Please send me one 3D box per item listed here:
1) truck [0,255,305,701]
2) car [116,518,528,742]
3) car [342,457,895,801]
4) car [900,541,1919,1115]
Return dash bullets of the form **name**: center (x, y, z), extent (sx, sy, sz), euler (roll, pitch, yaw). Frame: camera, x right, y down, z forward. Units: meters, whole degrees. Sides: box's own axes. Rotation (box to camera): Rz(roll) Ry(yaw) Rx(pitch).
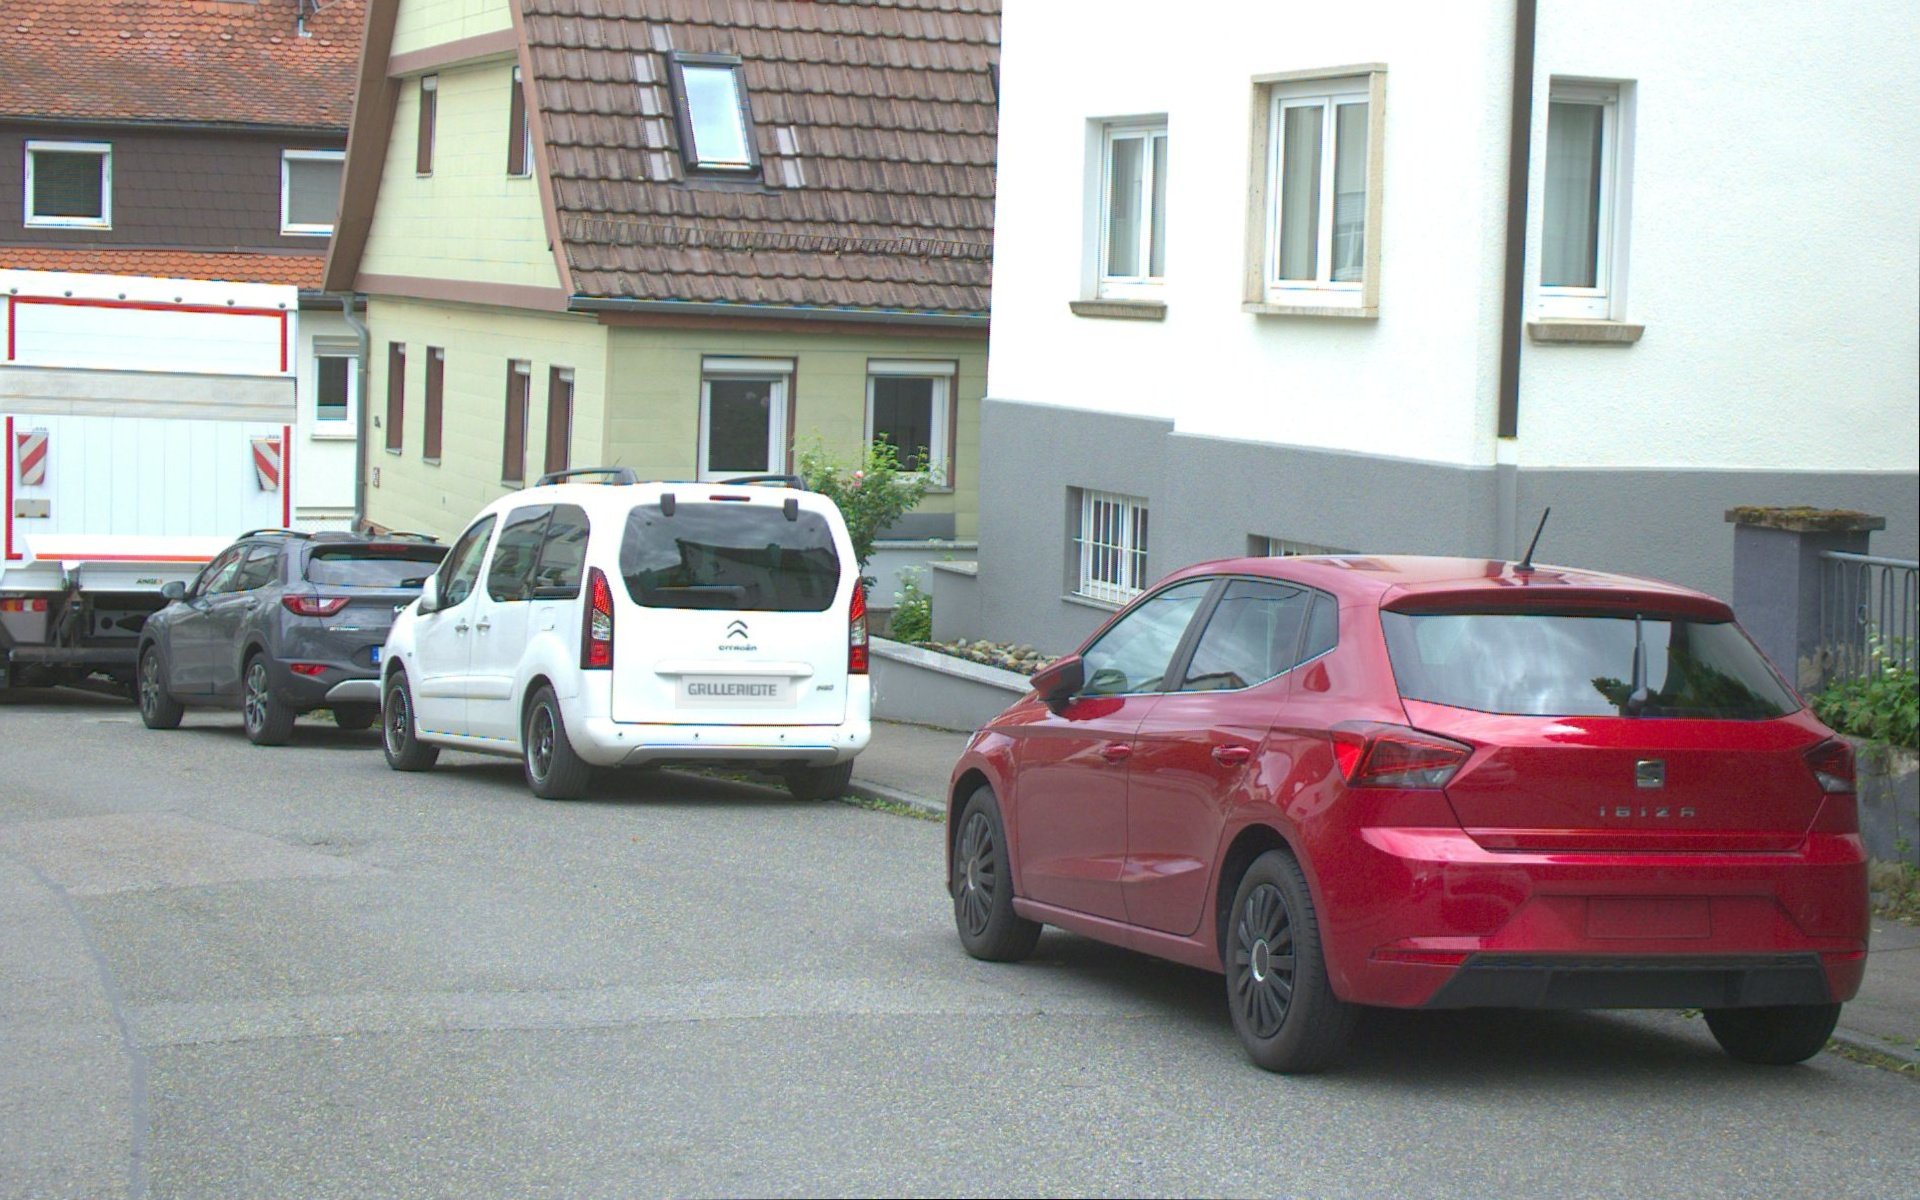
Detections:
- **truck**: center (-8.750, -1.070, 31.737), extent (2.675, 3.585, 8.106), euler (0, 1, -31)
- **car**: center (-4.763, 0.195, 25.224), extent (1.732, 1.501, 4.051), euler (1, 0, -29)
- **car**: center (-2.149, 0.120, 20.402), extent (1.835, 1.808, 4.305), euler (1, 1, -26)
- **car**: center (1.199, 0.568, 10.840), extent (1.678, 1.447, 3.853), euler (1, 1, -18)
